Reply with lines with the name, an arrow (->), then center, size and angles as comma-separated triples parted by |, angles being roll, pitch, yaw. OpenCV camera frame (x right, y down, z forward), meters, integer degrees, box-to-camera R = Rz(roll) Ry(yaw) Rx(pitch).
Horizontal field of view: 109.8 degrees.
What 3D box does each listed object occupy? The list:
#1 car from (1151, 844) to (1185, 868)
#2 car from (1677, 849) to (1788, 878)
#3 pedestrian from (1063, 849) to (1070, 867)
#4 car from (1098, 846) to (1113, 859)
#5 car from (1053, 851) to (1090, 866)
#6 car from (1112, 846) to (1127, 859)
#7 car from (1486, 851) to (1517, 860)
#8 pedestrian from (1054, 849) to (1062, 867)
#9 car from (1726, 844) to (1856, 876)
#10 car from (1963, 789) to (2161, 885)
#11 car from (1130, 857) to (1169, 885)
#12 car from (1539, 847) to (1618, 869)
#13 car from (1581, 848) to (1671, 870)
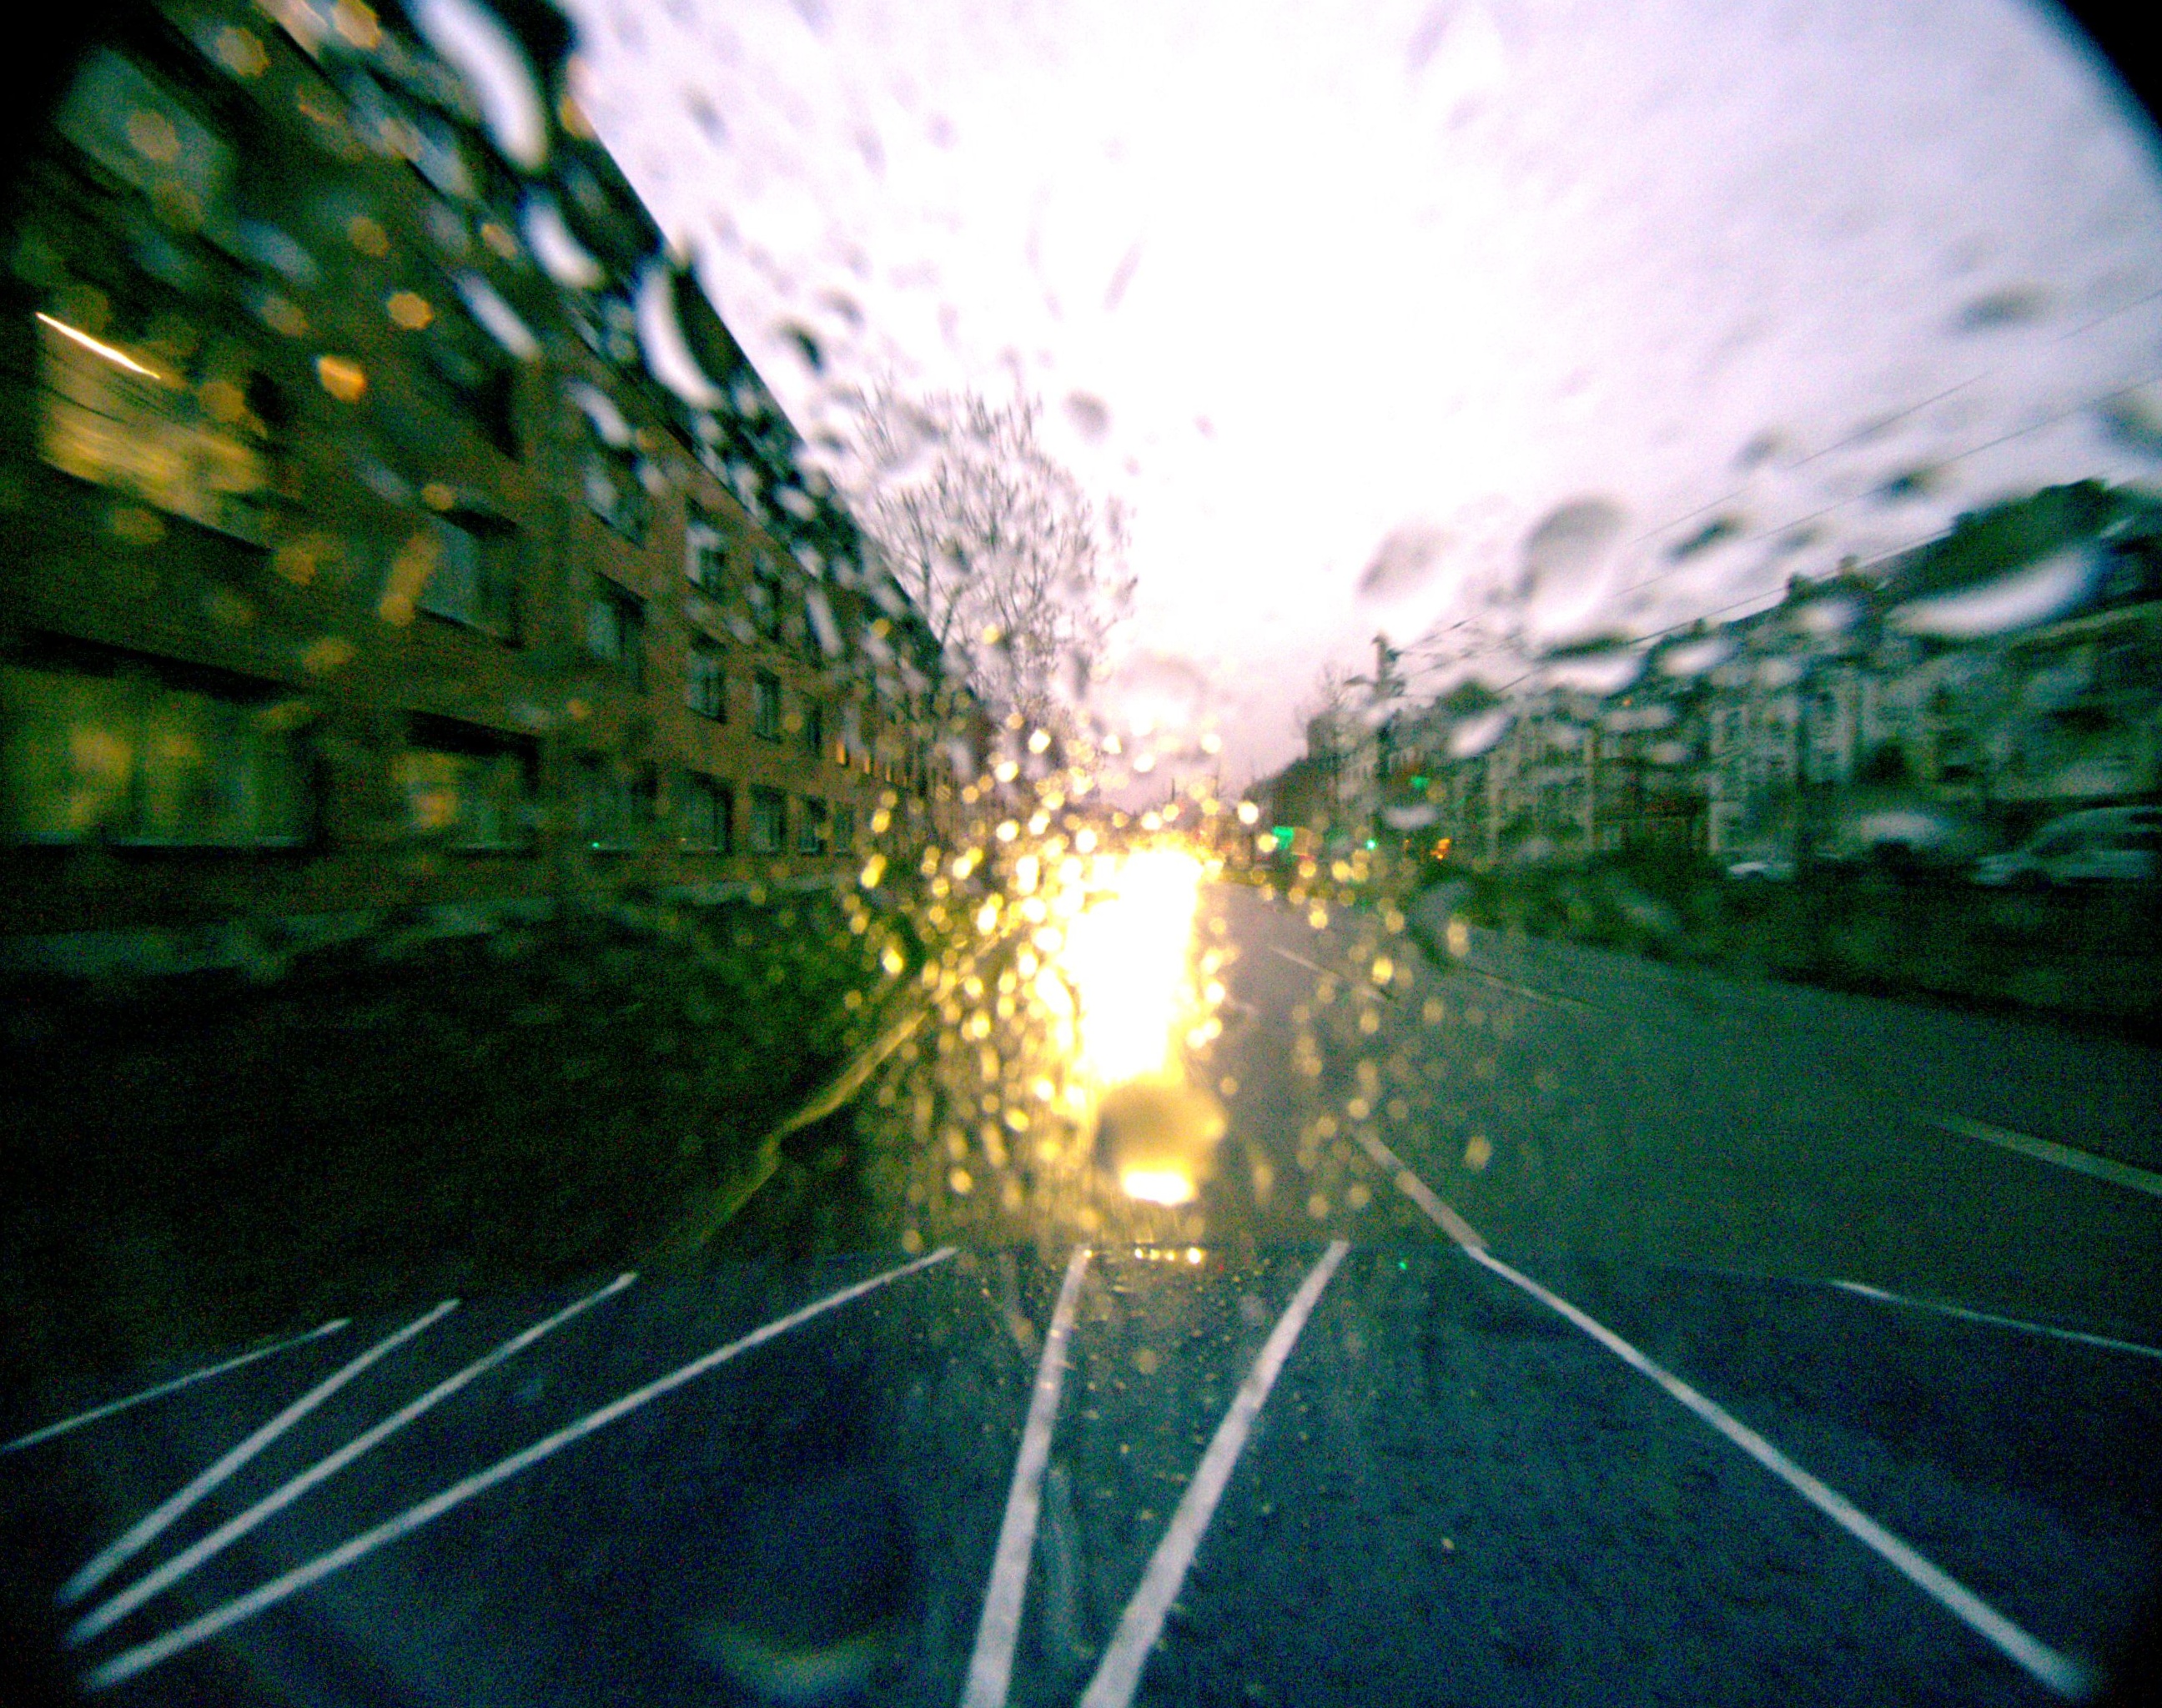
car -> 5.771, 0.121, 50.925 | 1.813, 1.488, 4.053 | -2, 1, 1
car -> 31.771, 0.438, 37.232 | 3.988, 1.324, 2.004 | 0, 1, 36
pedestrian -> -1.465, 0.385, 76.041 | 0.506, 1.814, 0.656 | 0, 1, -25
car -> 3.281, -0.158, 103.093 | 1.998, 1.694, 4.000 | 0, 0, 1
car -> -1.057, 0.506, 84.930 | 3.996, 1.547, 1.742 | 1, 1, 2
car -> 5.629, -0.223, 111.851 | 1.998, 1.745, 4.000 | 0, 0, 0
car -> 49.123, 0.133, 88.834 | 2.897, 1.069, 1.331 | 0, 1, 0
pedestrian -> -2.218, 0.418, 73.634 | 0.506, 1.732, 0.656 | -1, 1, -32
car -> 31.480, 0.239, 33.852 | 3.988, 1.324, 2.004 | 0, 1, 35
car -> 31.526, -0.499, 23.146 | 5.850, 2.781, 2.004 | 0, 1, 42
car -> 3.774, 0.900, 42.216 | 1.813, 1.385, 4.053 | -2, 1, 1
car -> 30.929, 0.249, 47.288 | 3.988, 1.324, 2.004 | 0, 1, 37
car -> 30.514, 0.279, 42.603 | 3.988, 1.162, 2.004 | 0, 1, 39
